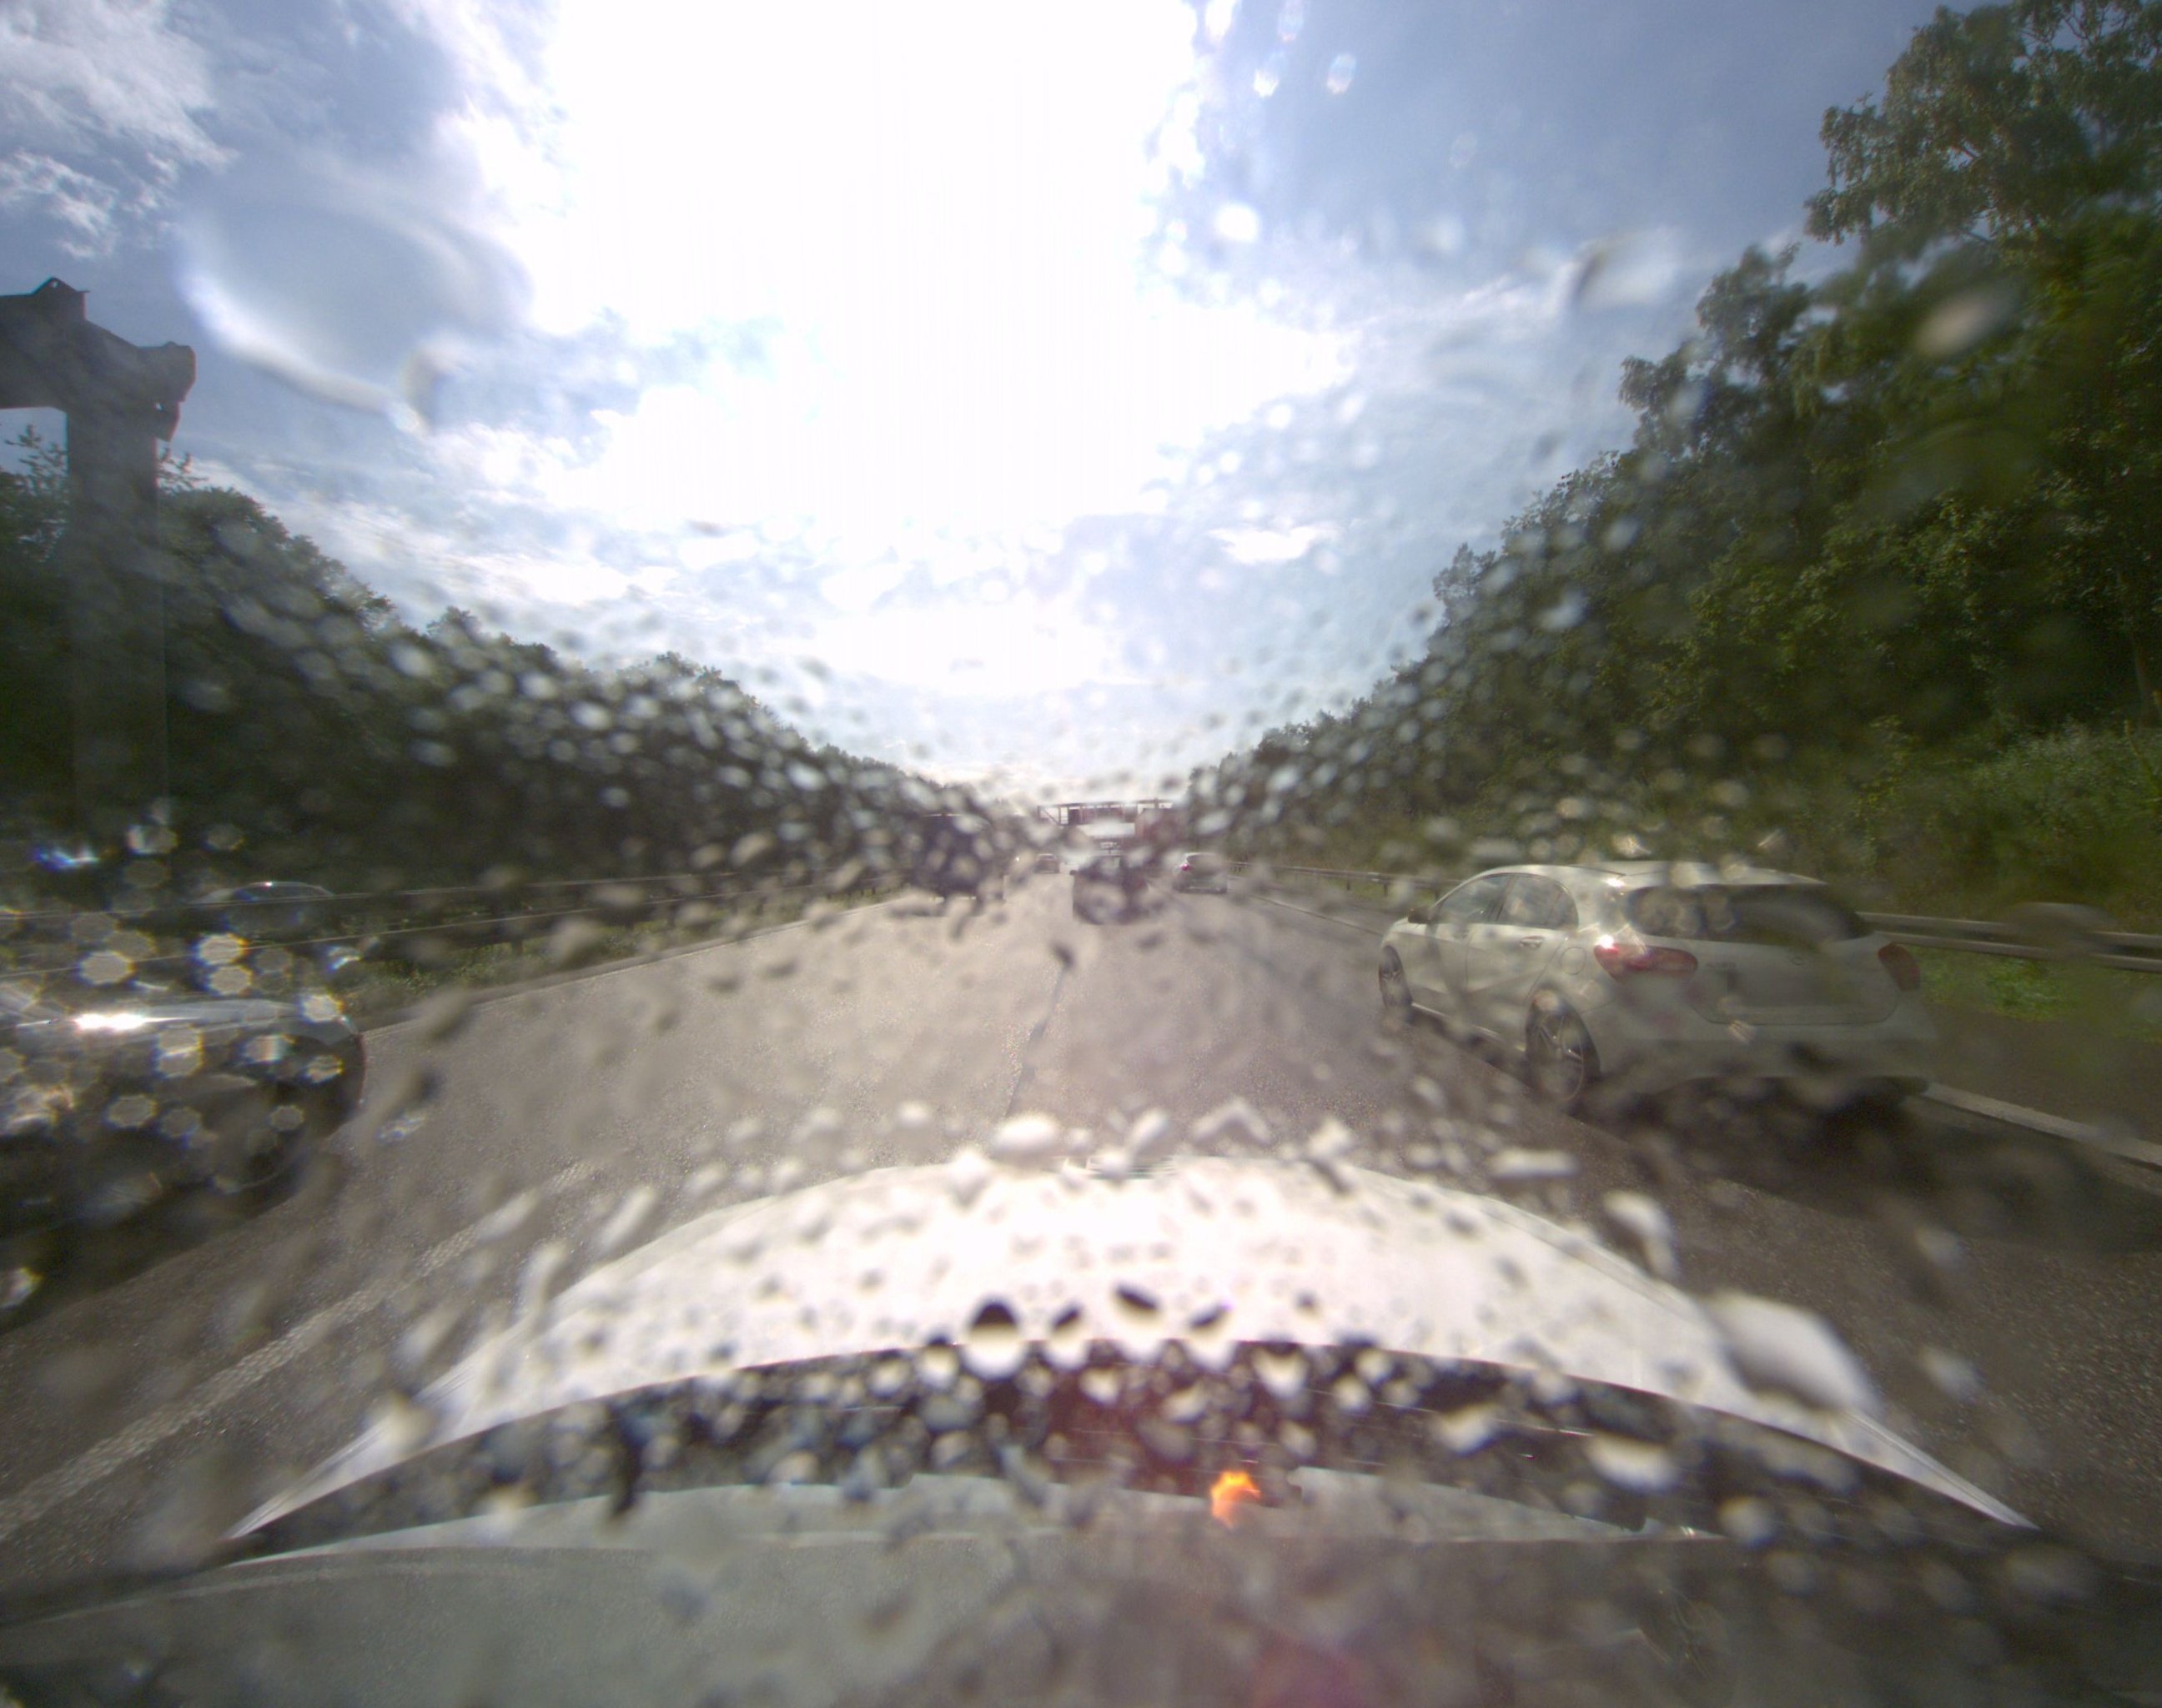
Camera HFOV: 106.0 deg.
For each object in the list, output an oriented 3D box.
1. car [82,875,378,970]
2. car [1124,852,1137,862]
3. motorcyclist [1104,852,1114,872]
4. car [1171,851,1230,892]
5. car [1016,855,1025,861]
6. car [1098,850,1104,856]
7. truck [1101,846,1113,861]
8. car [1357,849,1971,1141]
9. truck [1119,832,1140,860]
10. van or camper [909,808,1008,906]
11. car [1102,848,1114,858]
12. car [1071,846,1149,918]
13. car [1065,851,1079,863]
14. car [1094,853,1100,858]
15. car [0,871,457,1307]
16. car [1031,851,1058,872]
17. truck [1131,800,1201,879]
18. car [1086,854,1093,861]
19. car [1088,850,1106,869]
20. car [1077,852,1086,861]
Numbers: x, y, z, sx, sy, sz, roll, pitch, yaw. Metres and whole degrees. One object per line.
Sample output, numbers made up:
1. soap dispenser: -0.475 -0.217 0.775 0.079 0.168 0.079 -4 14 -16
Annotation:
1. car: -17.659 1.338 17.248 1.986 1.675 4.002 0 0 2
2. car: 6.696 0.404 110.750 1.548 1.383 3.209 0 0 0
3. motorcyclist: 2.343 0.662 68.740 0.799 1.633 1.013 0 0 0
4. car: 4.515 0.631 31.248 1.675 1.442 3.904 0 0 0
5. car: -12.384 0.794 166.514 1.502 1.323 3.336 0 0 2
6. car: 6.189 -0.290 251.961 1.986 1.734 4.002 -1 0 2
7. truck: 5.001 -0.089 155.701 2.185 2.875 4.849 0 0 0
8. car: 3.577 0.696 6.114 1.686 1.425 4.221 0 0 2
9. truck: 8.110 -1.291 138.503 3.244 4.479 12.426 0 0 2
10. van or camper: -3.588 0.087 24.913 1.986 2.668 5.388 0 0 2
11. car: 3.667 -0.118 112.851 1.548 1.383 3.209 0 0 0
12. car: 0.649 0.614 19.715 1.712 1.567 3.484 0 0 0
13. car: -1.164 0.383 107.423 1.745 1.457 3.389 0 0 0
14. car: 4.100 0.419 210.851 1.544 1.267 3.484 0 0 0
15. car: -4.520 0.811 2.252 1.788 1.419 4.840 0 0 1
16. car: -2.774 0.588 62.374 1.848 1.551 3.484 0 0 0
17. truck: 5.598 -0.865 56.996 3.636 4.720 16.786 0 0 2
18. car: 1.742 0.716 170.221 1.544 1.267 3.484 0 0 0
19. car: 1.464 0.494 75.129 1.526 1.746 3.484 0 0 0
20. car: 0.043 0.407 130.534 1.455 1.393 3.311 0 0 0
